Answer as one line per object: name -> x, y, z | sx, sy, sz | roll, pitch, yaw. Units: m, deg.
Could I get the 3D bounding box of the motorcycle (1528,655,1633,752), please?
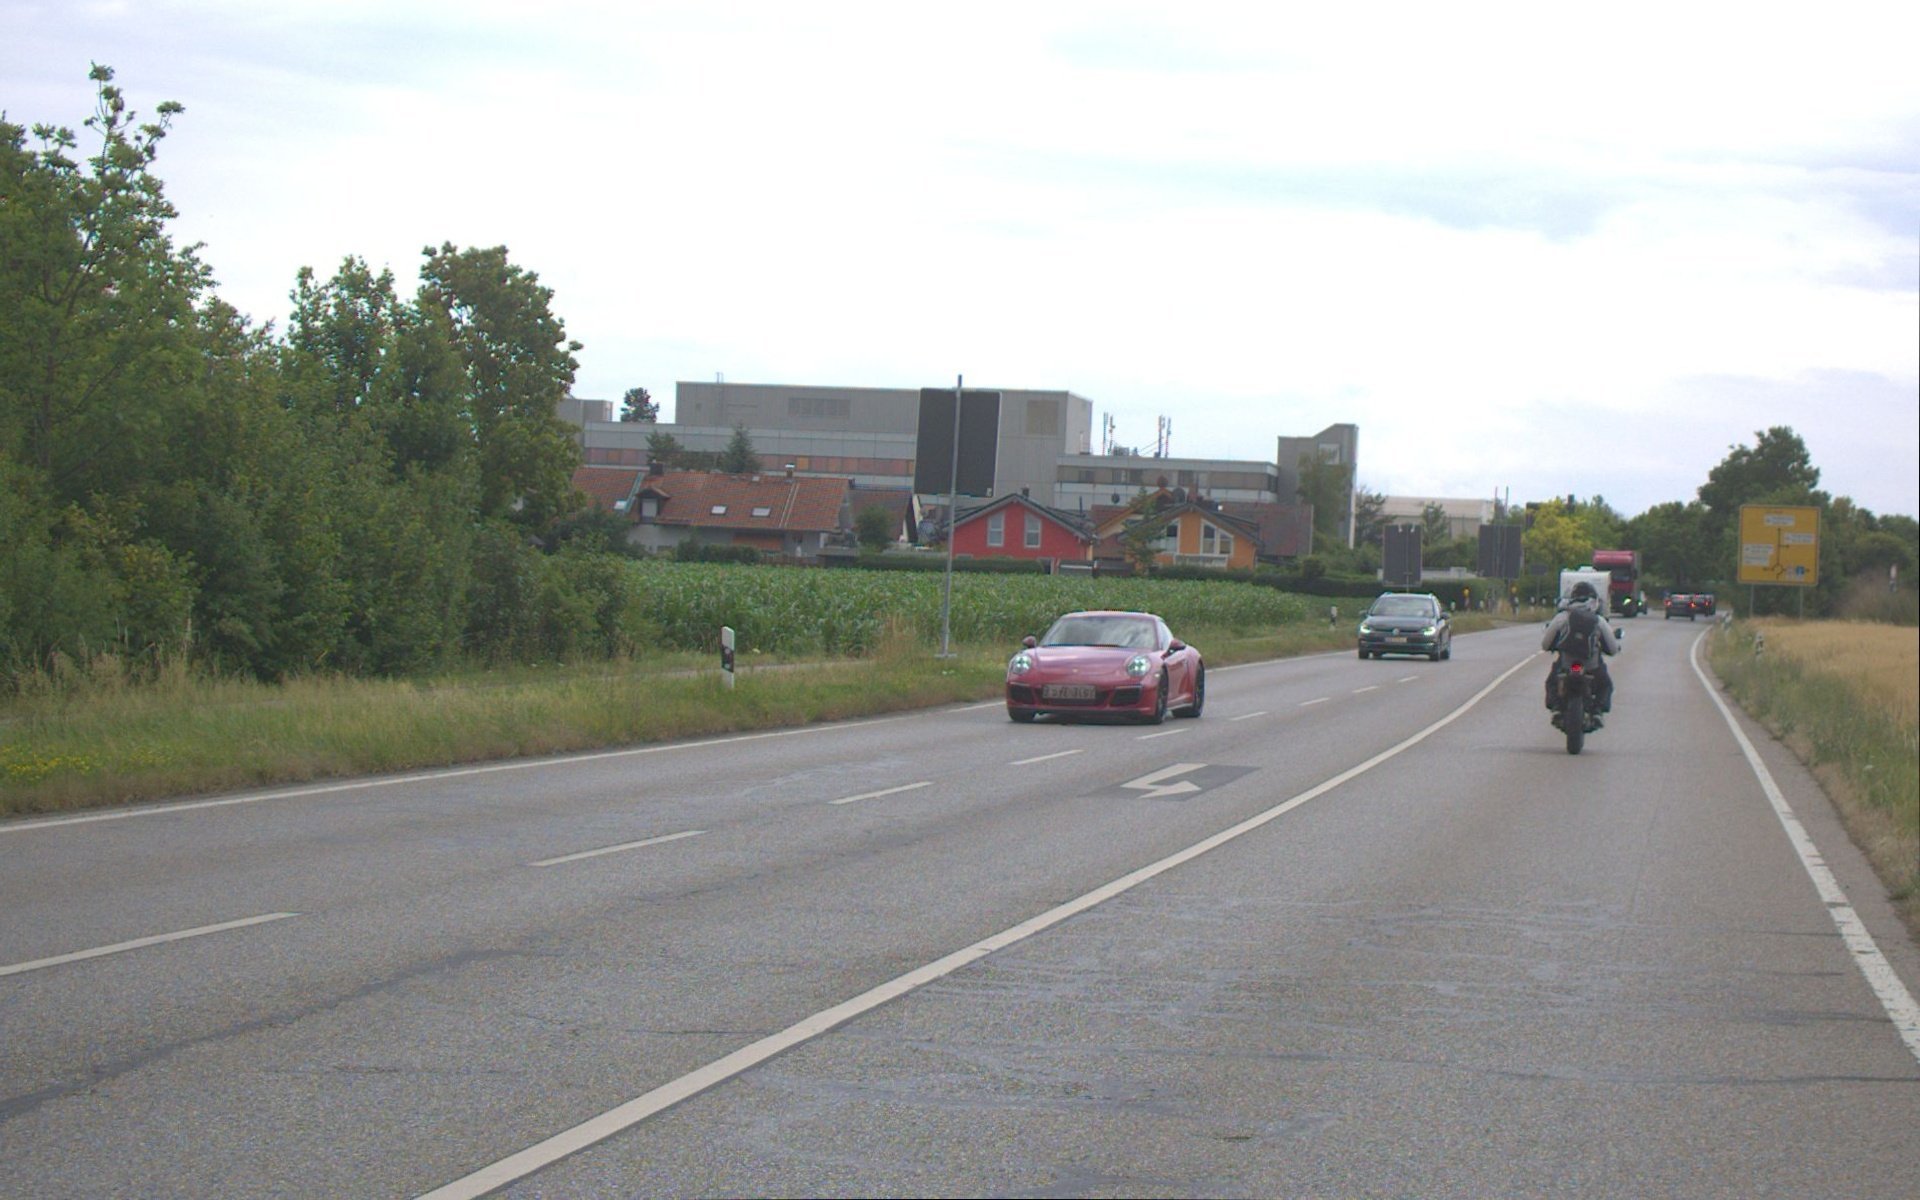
motorcycle -> 6.378, 1.046, 35.268 | 0.942, 0.887, 2.144 | 3, 0, 12

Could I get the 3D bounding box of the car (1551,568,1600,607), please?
car -> 28.884, -0.575, 161.274 | 1.995, 1.693, 4.673 | 3, 1, 12

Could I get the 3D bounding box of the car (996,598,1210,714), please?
car -> 1.754, 0.627, 40.874 | 1.772, 1.237, 4.209 | 2, 1, 13

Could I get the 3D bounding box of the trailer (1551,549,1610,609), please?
trailer -> 30.208, -0.995, 167.133 | 2.326, 2.720, 7.838 | 3, 1, 13

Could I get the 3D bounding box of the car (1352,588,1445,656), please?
car -> 9.738, 0.482, 76.090 | 1.669, 1.424, 4.300 | 1, 0, 12

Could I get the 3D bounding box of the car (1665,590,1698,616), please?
car -> 44.045, 0.169, 209.705 | 1.856, 1.467, 3.998 | 3, 0, 12

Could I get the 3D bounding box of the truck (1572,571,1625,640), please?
truck -> 38.727, 0.347, 208.385 | 2.731, 3.974, 6.812 | 2, 0, 13

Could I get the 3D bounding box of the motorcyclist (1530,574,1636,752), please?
motorcyclist -> 6.372, 0.632, 35.147 | 0.942, 1.744, 1.200 | 3, 0, 12
